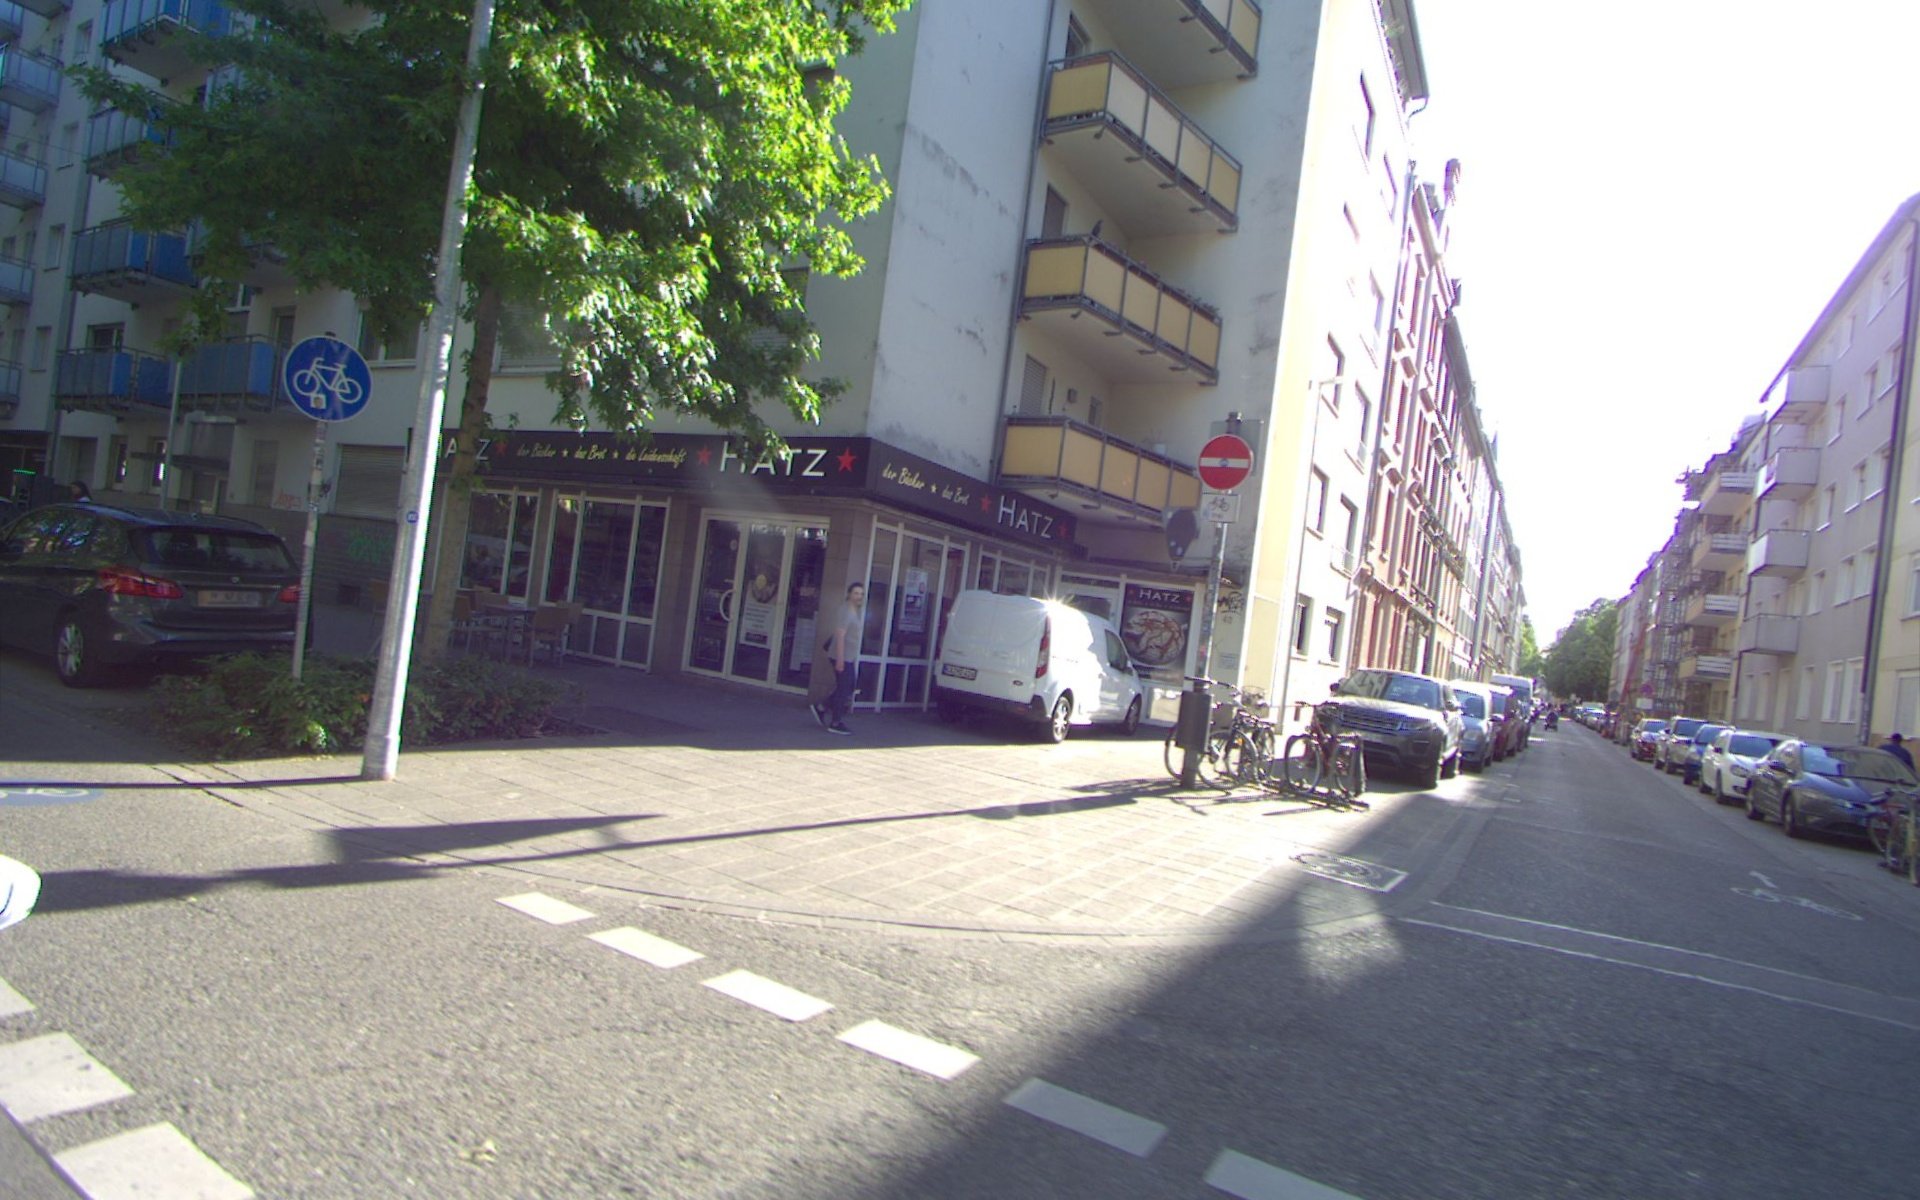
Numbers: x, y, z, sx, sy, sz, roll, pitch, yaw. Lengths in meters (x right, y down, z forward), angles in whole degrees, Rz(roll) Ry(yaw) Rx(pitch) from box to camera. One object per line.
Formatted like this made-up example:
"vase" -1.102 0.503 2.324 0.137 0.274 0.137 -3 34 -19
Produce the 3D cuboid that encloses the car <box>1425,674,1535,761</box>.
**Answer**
"car" 13.028 2.915 25.066 1.687 1.751 4.434 7 -1 36

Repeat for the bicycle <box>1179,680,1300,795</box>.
"bicycle" 3.260 1.557 11.624 0.692 1.130 1.837 7 -1 34

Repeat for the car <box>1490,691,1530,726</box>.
"car" 32.892 6.479 60.131 1.879 1.753 3.995 7 -1 30

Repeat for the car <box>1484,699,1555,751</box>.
"car" 19.839 4.401 35.575 1.687 1.478 4.435 7 -1 34

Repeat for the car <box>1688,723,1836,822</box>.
"car" 16.007 3.368 20.262 1.568 1.477 3.926 7 -1 30

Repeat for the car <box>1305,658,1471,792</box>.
"car" 6.940 1.941 16.072 1.773 1.625 4.013 7 -2 31

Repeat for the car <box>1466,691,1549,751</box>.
"car" 16.875 3.690 30.910 1.687 1.478 4.435 7 -1 34

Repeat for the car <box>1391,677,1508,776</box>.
"car" 10.049 2.533 20.515 1.703 1.589 3.651 7 -2 31

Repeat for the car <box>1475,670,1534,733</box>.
"car" 25.538 4.792 47.134 1.967 2.535 3.997 6 -4 32

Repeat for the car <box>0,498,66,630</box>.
"car" -12.926 -0.647 12.385 3.619 1.507 1.722 7 -1 30

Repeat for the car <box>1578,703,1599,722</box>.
"car" 72.111 12.931 115.432 1.763 1.904 3.994 7 -1 31

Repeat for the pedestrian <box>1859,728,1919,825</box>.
"pedestrian" 19.137 3.601 20.654 0.697 1.809 0.807 7 0 30

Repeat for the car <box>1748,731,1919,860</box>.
"car" 13.341 2.864 15.128 1.703 1.431 3.379 7 -1 30

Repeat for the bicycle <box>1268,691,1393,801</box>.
"bicycle" 4.391 1.715 11.848 0.605 1.130 1.769 7 -1 44

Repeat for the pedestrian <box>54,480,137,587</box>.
"pedestrian" -15.427 -1.185 17.964 0.758 1.769 0.793 7 0 34

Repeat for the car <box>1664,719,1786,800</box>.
"car" 18.607 3.830 24.628 1.703 1.477 3.926 7 -1 30

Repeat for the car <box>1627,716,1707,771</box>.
"car" 24.350 4.909 34.766 1.703 1.461 3.926 7 -1 30

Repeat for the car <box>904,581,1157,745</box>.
"car" 1.228 0.960 14.836 1.965 1.852 4.370 7 -1 28

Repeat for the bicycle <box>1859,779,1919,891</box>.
"bicycle" 10.877 2.664 11.391 0.480 1.028 1.966 7 -1 28

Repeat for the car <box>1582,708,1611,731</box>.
"car" 49.628 9.299 78.448 1.666 1.519 3.994 7 -1 31

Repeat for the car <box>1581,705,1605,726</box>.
"car" 59.845 10.896 95.201 1.666 1.659 3.994 7 -1 31

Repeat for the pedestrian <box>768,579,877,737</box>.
"pedestrian" -1.552 0.634 11.447 0.841 1.638 0.770 8 3 12

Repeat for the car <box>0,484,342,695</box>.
"car" -8.189 -0.163 9.836 4.013 1.592 1.722 7 -1 28

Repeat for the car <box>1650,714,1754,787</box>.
"car" 20.737 4.163 28.266 1.703 1.582 3.926 7 -1 30
